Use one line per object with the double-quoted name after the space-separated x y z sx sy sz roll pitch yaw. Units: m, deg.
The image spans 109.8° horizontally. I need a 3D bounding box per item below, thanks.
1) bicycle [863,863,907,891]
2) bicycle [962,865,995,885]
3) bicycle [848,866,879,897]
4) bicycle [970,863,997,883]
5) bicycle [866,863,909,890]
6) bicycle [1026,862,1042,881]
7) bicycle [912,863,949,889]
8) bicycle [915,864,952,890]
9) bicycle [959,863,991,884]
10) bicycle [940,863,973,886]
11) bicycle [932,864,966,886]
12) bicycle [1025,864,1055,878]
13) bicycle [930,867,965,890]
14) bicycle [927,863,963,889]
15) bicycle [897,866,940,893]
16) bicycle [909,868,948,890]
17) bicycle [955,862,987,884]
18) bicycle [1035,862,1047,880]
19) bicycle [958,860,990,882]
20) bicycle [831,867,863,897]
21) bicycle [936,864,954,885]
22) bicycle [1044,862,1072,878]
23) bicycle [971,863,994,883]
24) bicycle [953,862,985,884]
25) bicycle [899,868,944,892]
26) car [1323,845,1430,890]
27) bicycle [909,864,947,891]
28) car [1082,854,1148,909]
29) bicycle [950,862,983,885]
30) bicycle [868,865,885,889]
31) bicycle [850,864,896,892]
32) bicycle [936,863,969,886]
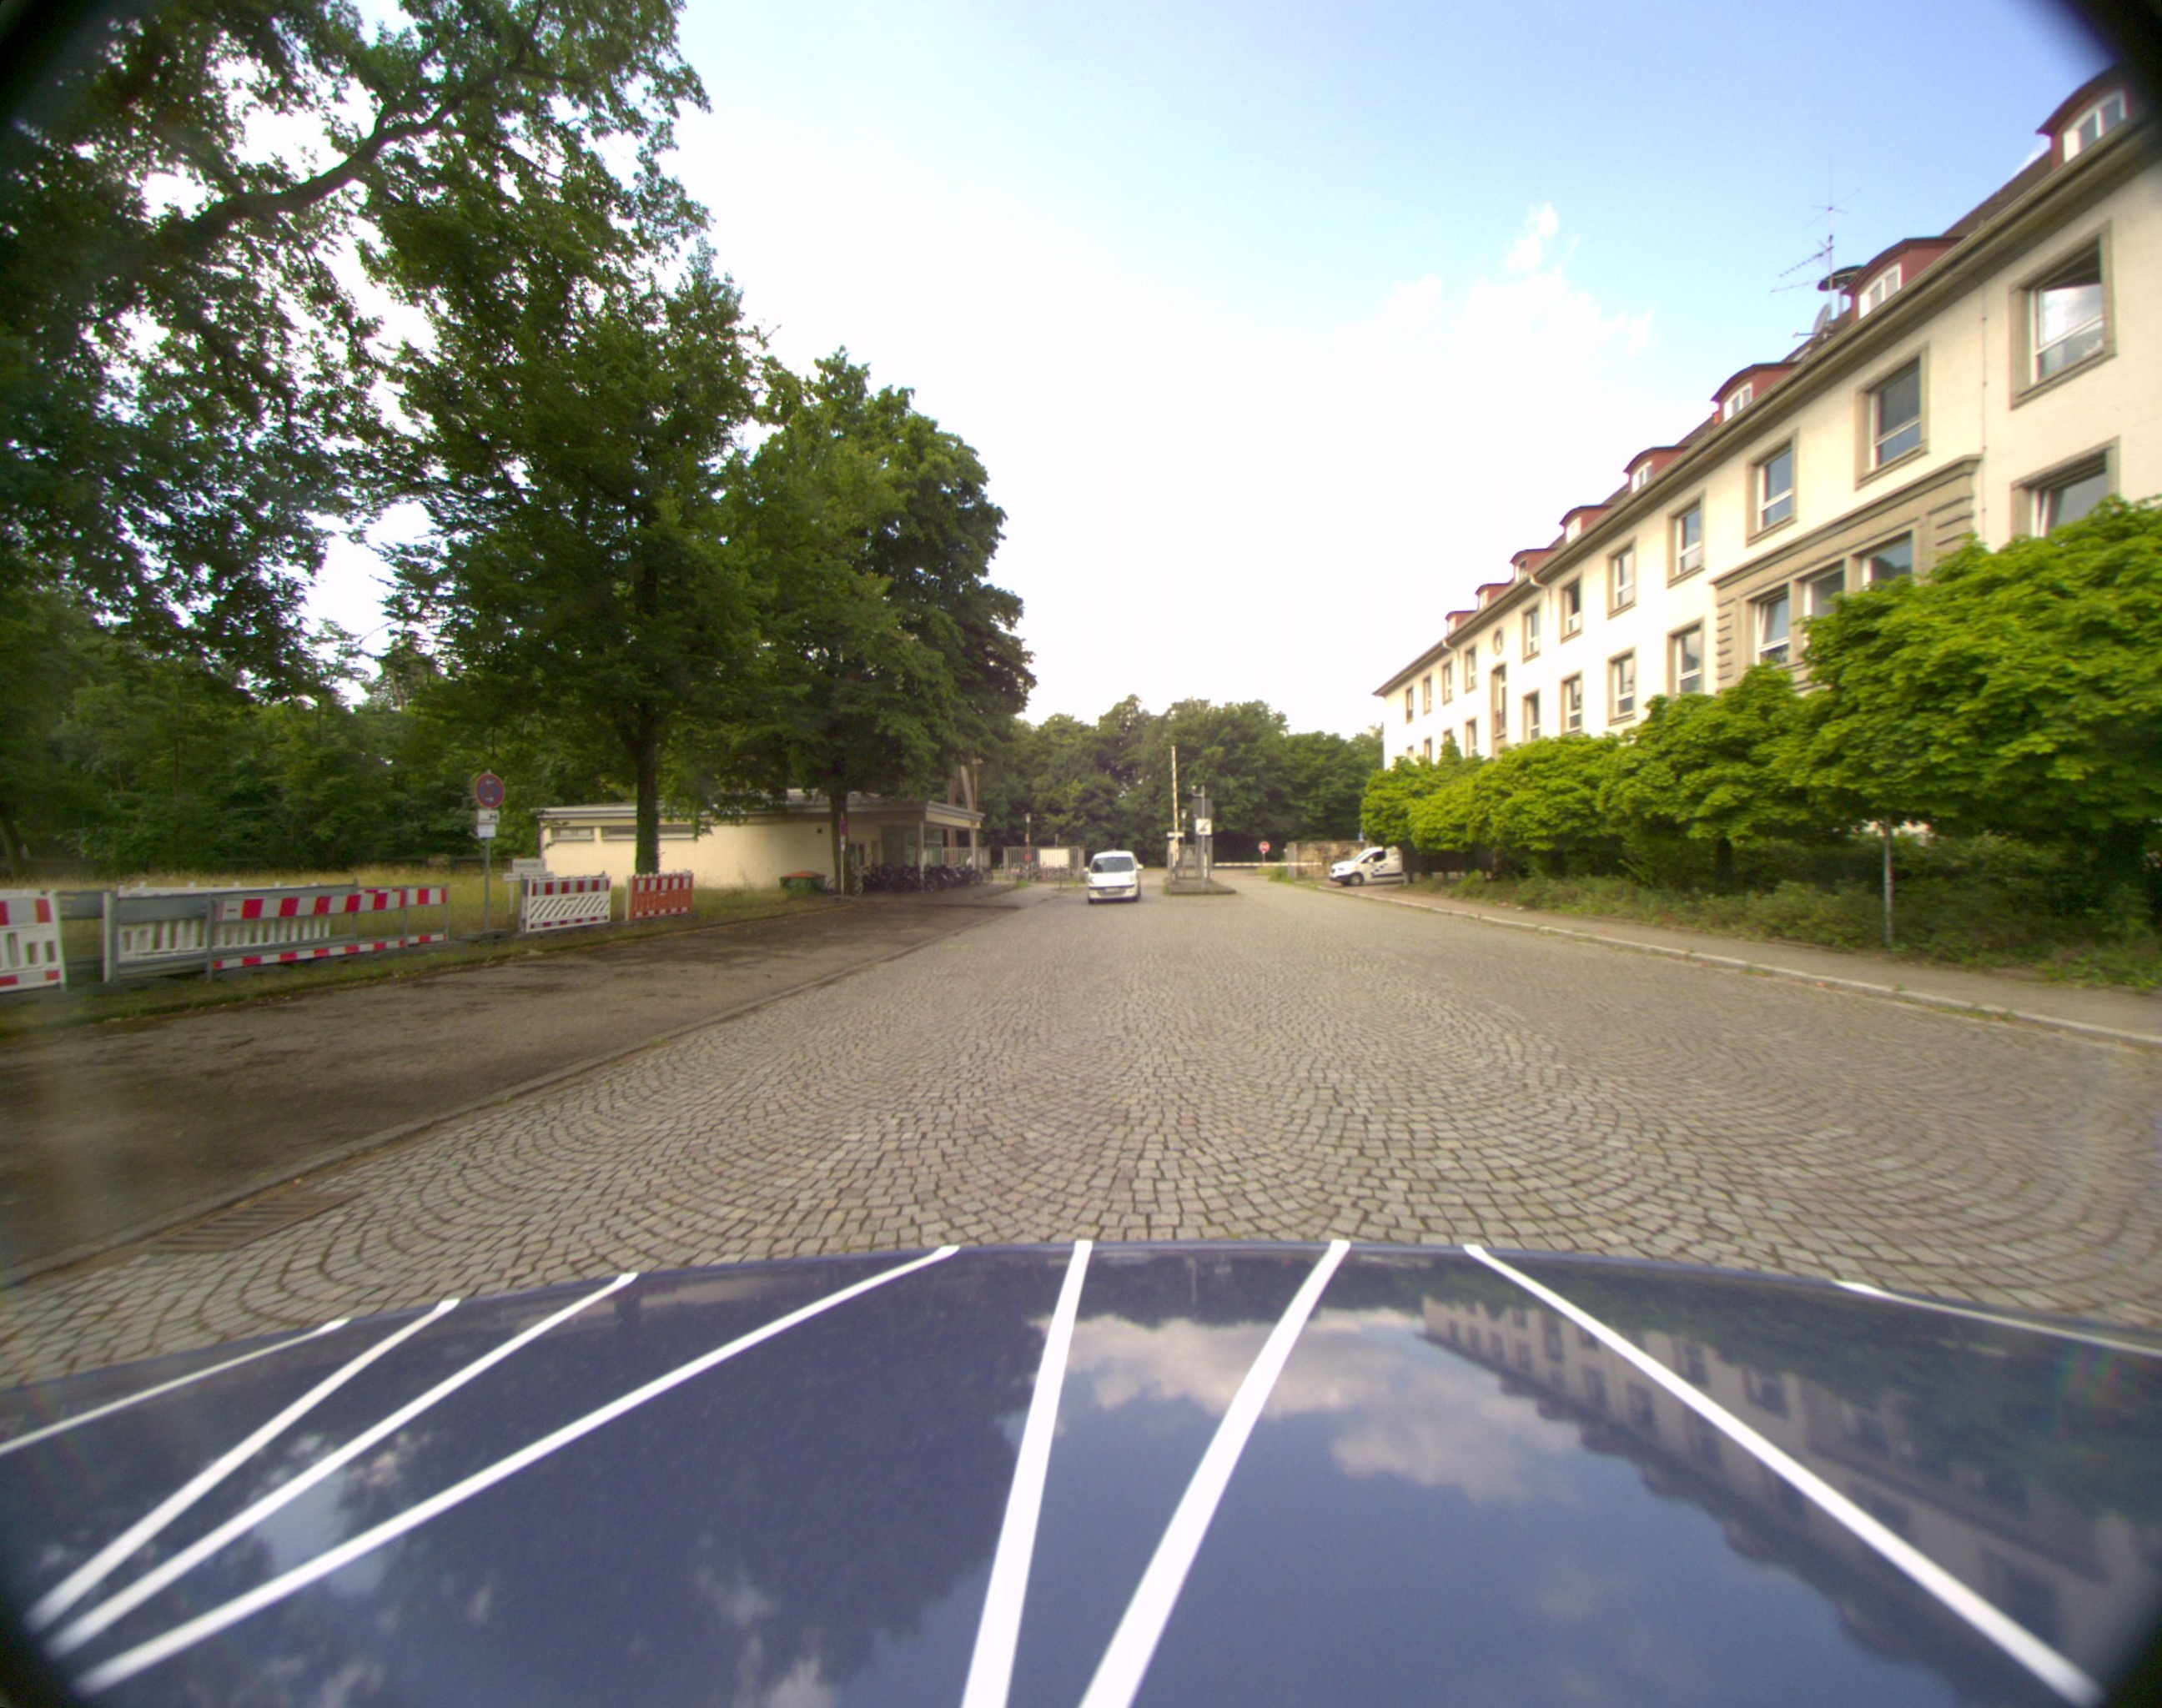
-8.570 1.005 33.185 1.745 1.158 0.608 1 0 1 "bicycle"
-5.581 1.143 41.495 1.753 1.040 0.453 -1 1 -34 "bicycle"
-8.331 1.048 29.142 0.598 1.110 1.635 1 0 4 "bicycle"
-5.261 1.040 40.963 1.407 1.040 0.338 -1 1 -21 "bicycle"
-8.669 1.006 34.117 1.745 1.158 0.608 1 0 1 "bicycle"
-2.718 0.987 44.305 0.691 1.056 1.566 -1 0 5 "bicycle"
-6.820 0.986 34.482 1.635 1.183 0.419 1 0 -7 "bicycle"
-6.817 1.052 35.097 1.635 1.183 0.419 1 0 -7 "bicycle"
-5.590 1.025 40.047 1.617 1.134 0.356 1 1 -2 "bicycle"
-6.234 1.003 38.079 1.617 1.134 0.325 1 1 -2 "bicycle"
-6.430 1.038 36.992 1.595 1.044 0.325 1 1 -2 "bicycle"
-2.589 1.084 48.405 1.867 0.934 0.503 0 0 0 "bicycle"
-6.411 1.177 36.455 1.635 1.044 0.334 1 0 -9 "bicycle"
-6.401 1.031 35.868 1.635 1.183 0.499 1 0 -7 "bicycle"
-6.733 1.066 31.526 1.681 1.102 0.338 1 1 -8 "bicycle"
-6.675 1.080 33.217 1.637 0.970 0.322 0 0 -25 "bicycle"
-5.696 0.995 39.370 1.617 1.134 0.356 1 1 -2 "bicycle"
-2.435 1.021 46.053 0.474 1.051 1.733 -1 0 5 "bicycle"
-5.898 0.943 42.022 1.744 1.125 0.473 -1 1 -39 "bicycle"
-8.960 1.051 29.168 0.598 1.110 1.635 1 0 4 "bicycle"
-7.096 1.057 39.824 0.491 1.069 1.833 1 0 4 "bicycle"
-1.473 1.040 49.062 1.729 1.027 0.387 0 1 6 "bicycle"
-5.259 1.016 40.549 1.154 1.056 0.287 -1 1 -16 "bicycle"
-5.722 0.981 38.905 1.617 1.134 0.325 1 1 -2 "bicycle"
-6.815 1.101 32.438 1.748 0.970 0.757 0 0 -25 "bicycle"
13.994 0.612 36.190 4.310 1.795 1.821 -4 1 3 "car"
-6.823 1.064 33.865 1.635 1.183 0.473 1 0 -8 "bicycle"
1.310 0.926 27.628 1.865 1.749 4.152 -3 0 9 "car"
-5.811 0.987 38.526 1.617 1.134 0.325 1 1 -2 "bicycle"
-9.506 1.075 35.349 0.480 1.069 1.680 0 0 -6 "bicycle"
-8.795 1.018 32.172 1.745 1.158 0.608 1 0 1 "bicycle"
-6.330 1.009 37.413 1.595 1.134 0.325 1 1 -2 "bicycle"
